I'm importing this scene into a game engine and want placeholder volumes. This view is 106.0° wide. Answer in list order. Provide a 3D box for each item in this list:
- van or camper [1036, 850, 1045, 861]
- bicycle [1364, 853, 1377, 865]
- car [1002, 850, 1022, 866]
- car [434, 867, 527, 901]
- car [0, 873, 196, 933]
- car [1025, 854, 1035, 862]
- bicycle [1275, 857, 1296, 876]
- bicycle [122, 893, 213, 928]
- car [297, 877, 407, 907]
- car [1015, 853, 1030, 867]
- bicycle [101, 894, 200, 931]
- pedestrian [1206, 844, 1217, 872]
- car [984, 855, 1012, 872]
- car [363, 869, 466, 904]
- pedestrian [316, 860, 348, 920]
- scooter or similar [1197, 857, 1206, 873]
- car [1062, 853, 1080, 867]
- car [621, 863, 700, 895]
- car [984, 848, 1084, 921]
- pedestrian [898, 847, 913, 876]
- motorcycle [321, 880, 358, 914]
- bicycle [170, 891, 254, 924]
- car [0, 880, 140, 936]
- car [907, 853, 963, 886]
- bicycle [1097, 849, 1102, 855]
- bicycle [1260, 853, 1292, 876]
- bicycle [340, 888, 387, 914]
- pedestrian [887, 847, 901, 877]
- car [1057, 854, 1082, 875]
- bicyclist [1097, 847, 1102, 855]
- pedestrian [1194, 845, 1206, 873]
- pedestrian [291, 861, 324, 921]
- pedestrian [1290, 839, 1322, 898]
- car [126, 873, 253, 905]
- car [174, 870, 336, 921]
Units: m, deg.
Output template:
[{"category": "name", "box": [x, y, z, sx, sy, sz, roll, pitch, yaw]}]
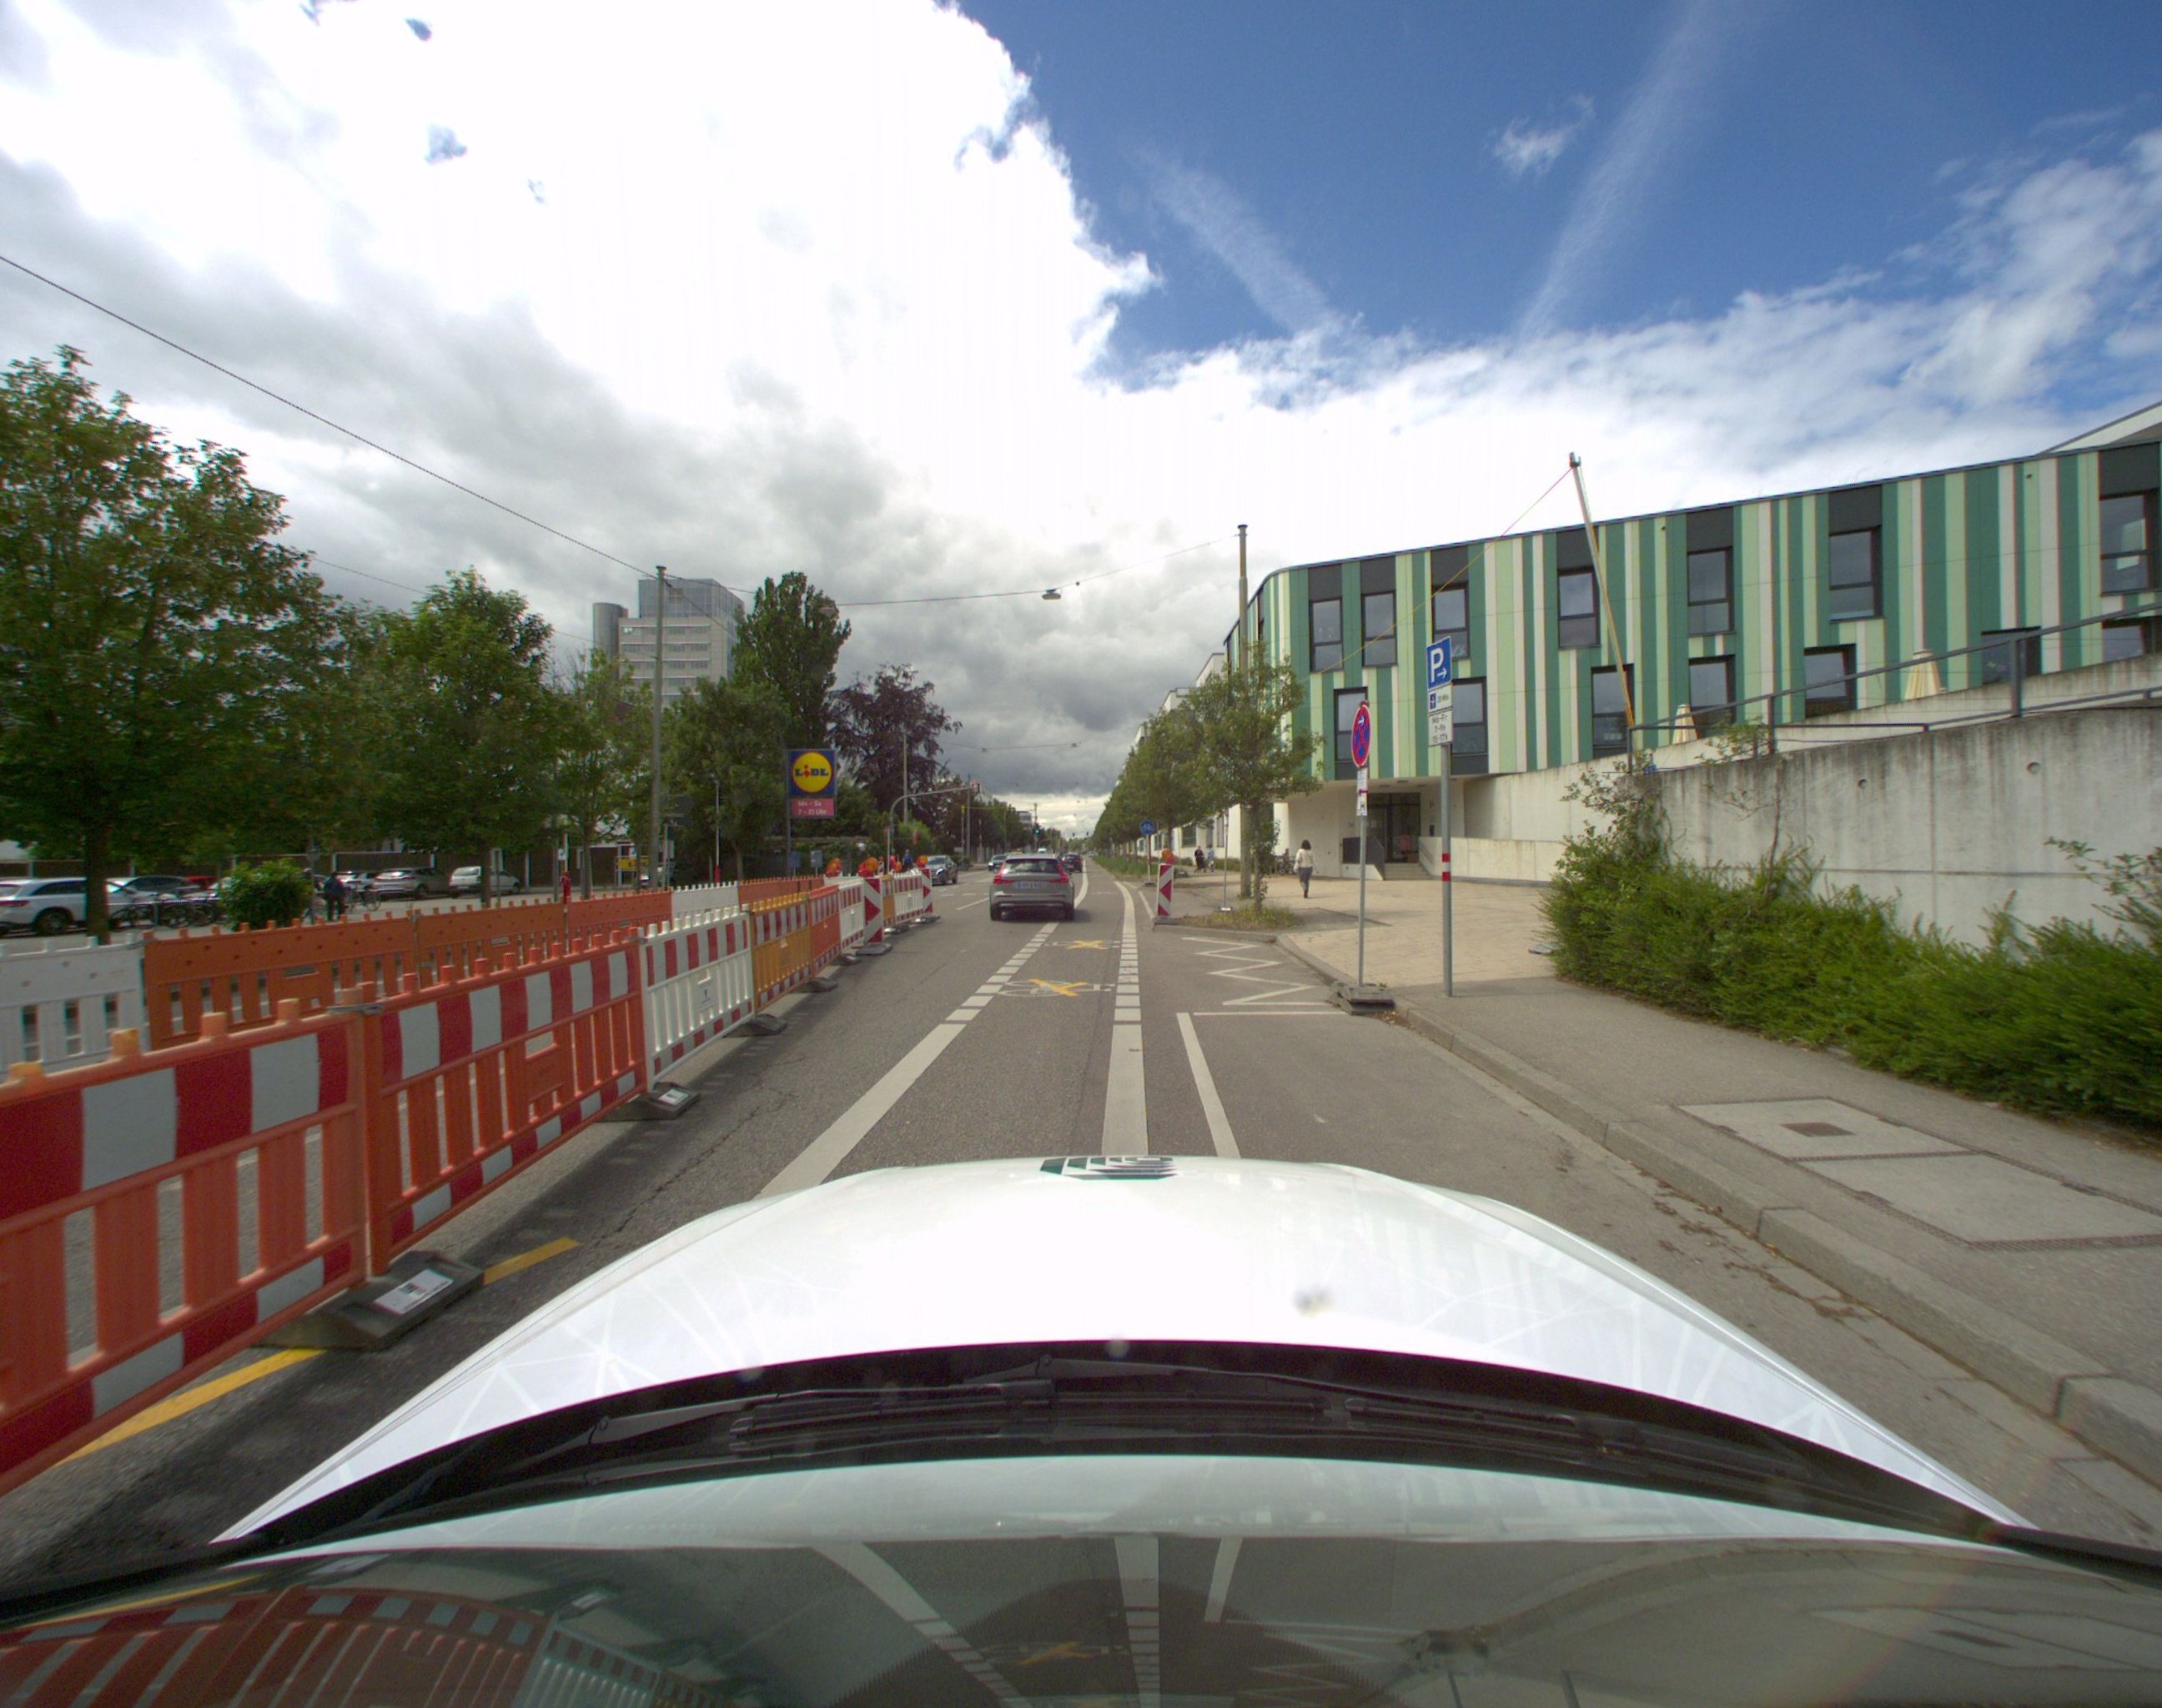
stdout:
[{"category": "van or camper", "box": [-10.259, 0.457, 205.941, 1.990, 2.734, 6.043, -2, 0, -4]}, {"category": "bicycle", "box": [11.287, 0.186, 31.738, 0.305, 0.452, 0.800, -2, 0, 6]}, {"category": "car", "box": [-7.426, 0.411, 88.146, 1.744, 1.555, 4.401, -2, 0, 0]}, {"category": "car", "box": [-30.799, 1.489, 41.936, 1.990, 1.552, 3.994, -2, 0, -4]}, {"category": "car", "box": [-30.492, 1.426, 24.807, 1.988, 1.572, 4.671, -1, 0, -1]}, {"category": "car", "box": [-10.279, 0.794, 164.236, 1.656, 1.515, 3.999, -1, 0, 0]}, {"category": "bicycle", "box": [9.607, 0.588, 38.262, 1.029, 0.842, 0.304, -2, 0, -33]}, {"category": "bicycle", "box": [-28.114, 1.742, 25.083, 1.886, 0.957, 0.346, -2, 0, -23]}, {"category": "car", "box": [-36.231, 1.871, 40.634, 1.990, 1.288, 3.994, -2, 0, -4]}, {"category": "car", "box": [-8.130, 0.817, 113.591, 1.835, 1.904, 4.684, -1, 0, 0]}, {"category": "bicycle", "box": [-27.673, 1.725, 24.256, 1.896, 0.957, 0.344, -2, 0, -44]}, {"category": "pedestrian", "box": [7.828, 0.253, 48.793, 0.548, 1.655, 0.607, -1, 0, -1]}, {"category": "car", "box": [-7.504, 0.843, 74.262, 1.987, 1.400, 4.810, -3, 0, 0]}, {"category": "car", "box": [-33.338, 1.574, 40.894, 1.990, 1.552, 3.994, -2, 0, -4]}, {"category": "pedestrian", "box": [-23.938, 1.145, 26.018, 0.420, 1.859, 0.611, -2, 0, -3]}, {"category": "scooter or similar", "box": [7.217, 0.661, 48.816, 0.420, 0.905, 0.681, -1, 0, 0]}, {"category": "car", "box": [-1.097, 0.640, 89.874, 1.839, 1.513, 3.999, 0, 0, -1]}, {"category": "car", "box": [-21.618, 1.250, 42.048, 1.987, 1.453, 3.999, -2, 0, 0]}, {"category": "car", "box": [-0.983, 0.638, 19.042, 1.846, 1.513, 4.004, 1, 0, 3]}, {"category": "pedestrian", "box": [-11.124, 0.483, 51.689, 0.679, 1.854, 0.892, -1, -1, 0]}, {"category": "motorcycle", "box": [-27.620, 1.586, 30.325, 1.931, 1.193, 0.867, -2, 0, 44]}, {"category": "bicycle", "box": [-28.428, 1.740, 26.655, 1.886, 0.957, 0.346, -2, 0, -23]}, {"category": "car", "box": [-32.938, 1.663, 25.288, 1.988, 1.572, 4.671, -1, 0, -1]}, {"category": "car", "box": [-7.295, 0.748, 41.061, 1.846, 1.513, 4.004, -2, 0, 4]}, {"category": "bicycle", "box": [4.820, -0.415, 209.916, 1.064, 1.453, 2.976, -2, 0, -1]}, {"category": "bicycle", "box": [9.417, 0.493, 39.339, 1.466, 1.045, 0.306, -2, 0, -13]}, {"category": "bicycle", "box": [-27.791, 1.822, 31.553, 1.643, 0.957, 0.314, -2, 0, 5]}, {"category": "pedestrian", "box": [-11.864, 0.508, 51.748, 0.679, 1.854, 0.706, -1, -1, 0]}, {"category": "car", "box": [-0.893, 0.785, 63.033, 1.849, 1.513, 3.999, 0, 0, -1]}, {"category": "bicyclist", "box": [4.793, -0.886, 209.993, 1.011, 2.013, 1.131, -2, 0, -1]}, {"category": "pedestrian", "box": [7.202, 0.283, 49.357, 0.603, 1.655, 0.552, -1, 0, -1]}, {"category": "pedestrian", "box": [-24.616, 1.176, 25.930, 0.420, 1.859, 0.611, -2, 0, -3]}, {"category": "pedestrian", "box": [6.042, 0.388, 21.940, 0.579, 1.551, 0.869, -2, 0, 0]}, {"category": "car", "box": [-43.893, 1.686, 40.246, 1.990, 1.398, 3.994, -2, 0, -4]}, {"category": "car", "box": [-30.920, 1.498, 30.679, 1.987, 1.695, 3.999, -2, 0, 0]}]
